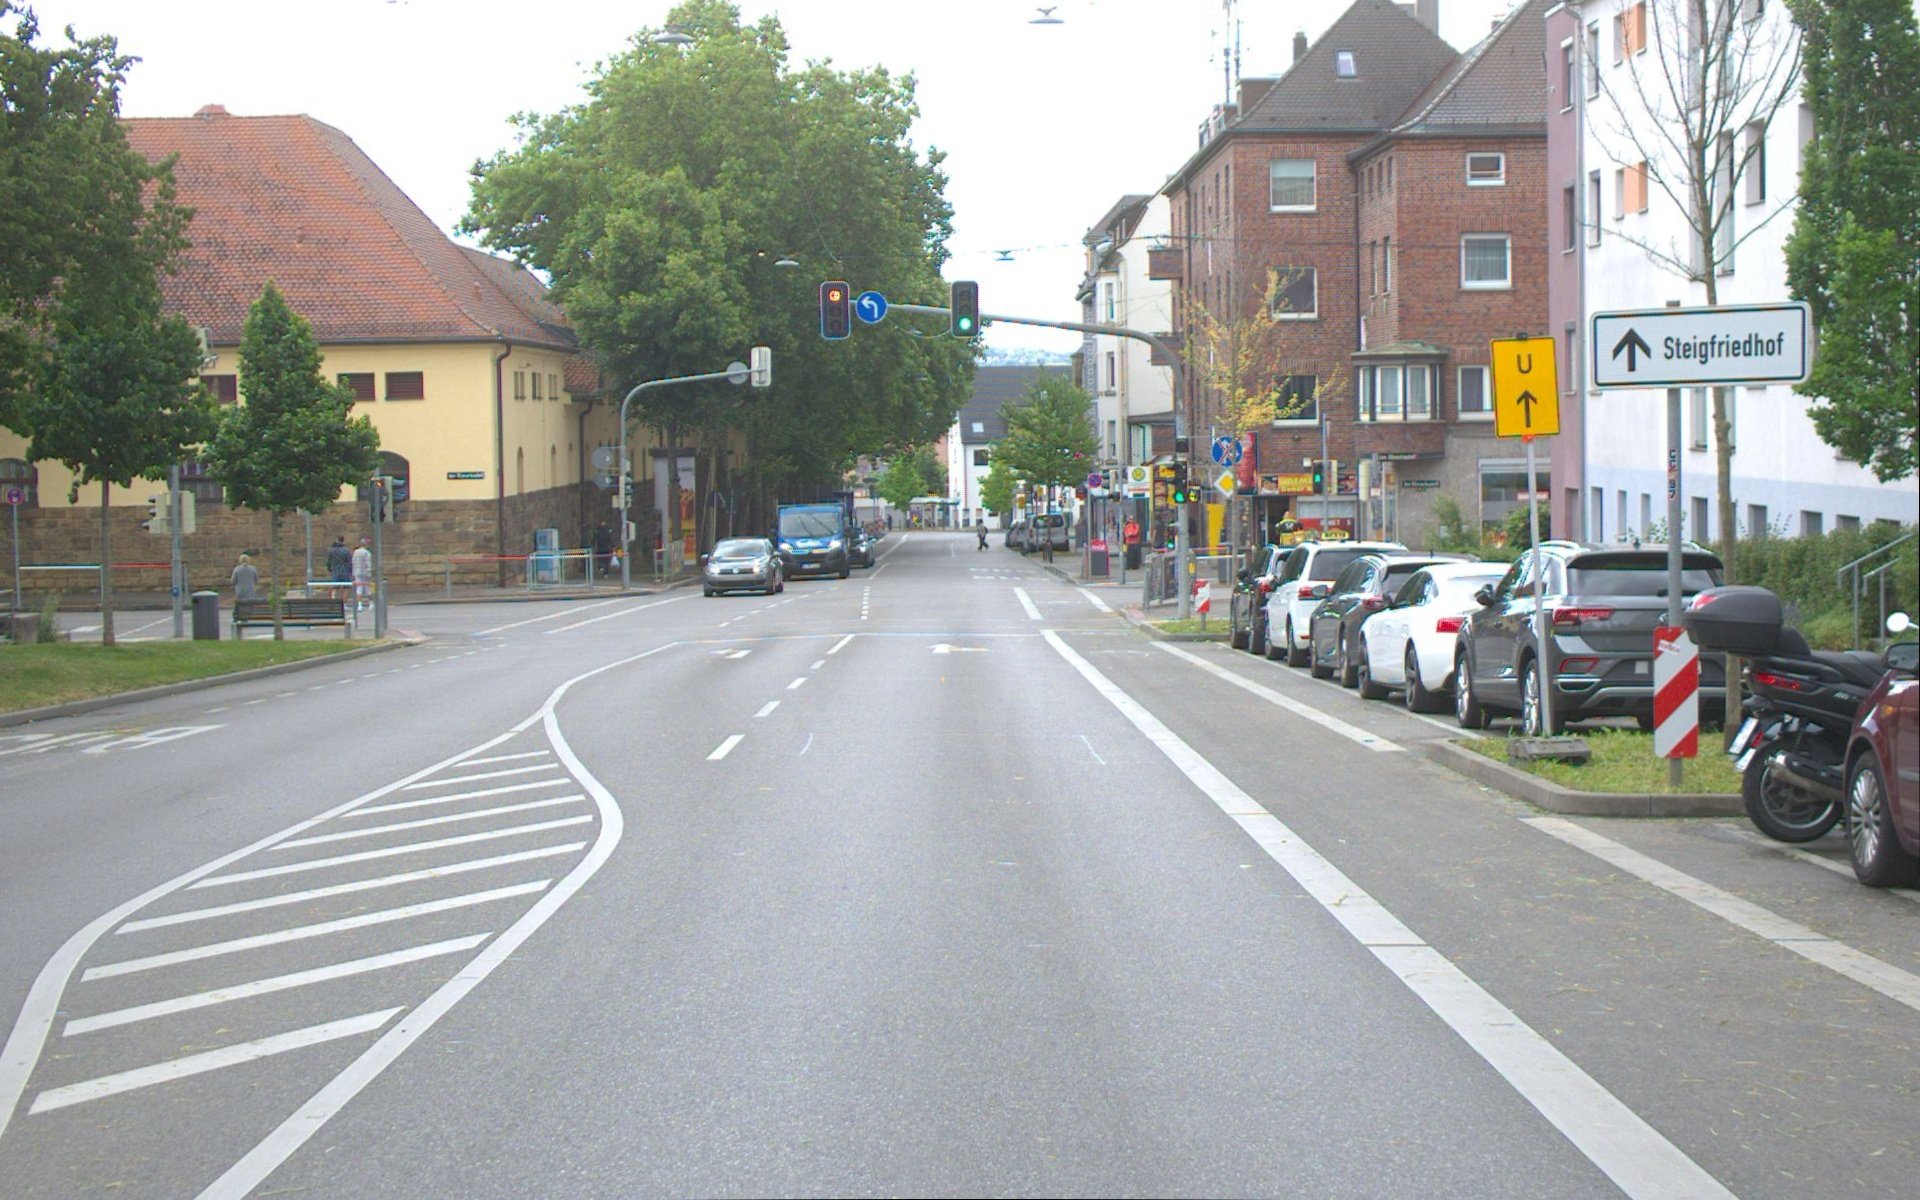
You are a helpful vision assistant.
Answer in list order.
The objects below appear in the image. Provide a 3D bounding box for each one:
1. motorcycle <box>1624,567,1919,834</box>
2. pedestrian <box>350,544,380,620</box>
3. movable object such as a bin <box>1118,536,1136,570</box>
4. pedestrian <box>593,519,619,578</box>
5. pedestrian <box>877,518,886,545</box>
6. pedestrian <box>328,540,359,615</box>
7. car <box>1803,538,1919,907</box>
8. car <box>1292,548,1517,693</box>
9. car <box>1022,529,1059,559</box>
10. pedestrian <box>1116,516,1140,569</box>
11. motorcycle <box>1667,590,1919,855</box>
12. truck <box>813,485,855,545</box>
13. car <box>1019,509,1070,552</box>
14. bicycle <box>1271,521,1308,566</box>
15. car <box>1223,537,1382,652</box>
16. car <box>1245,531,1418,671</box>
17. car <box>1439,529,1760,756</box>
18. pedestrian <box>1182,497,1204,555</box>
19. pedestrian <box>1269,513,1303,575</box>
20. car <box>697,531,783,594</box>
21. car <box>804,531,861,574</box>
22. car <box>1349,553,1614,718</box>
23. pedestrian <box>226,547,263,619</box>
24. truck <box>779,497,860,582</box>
[{"bbox_3d":[4.923,0.519,18.390,2.597,1.376,0.692,0,1,-4],"label":"motorcycle"},{"bbox_3d":[-13.998,-0.431,80.917,0.564,1.771,0.717,0,1,0],"label":"pedestrian"},{"bbox_3d":[5.160,-1.454,106.453,0.453,1.053,0.410,0,1,20],"label":"movable object such as a bin"},{"bbox_3d":[-10.671,-1.546,103.598,0.674,1.759,0.725,0,1,2],"label":"pedestrian"},{"bbox_3d":[-5.931,-5.154,258.654,0.633,2.007,0.784,0,1,2],"label":"pedestrian"},{"bbox_3d":[-14.626,-0.536,81.572,0.564,1.771,0.842,0,1,0],"label":"pedestrian"},{"bbox_3d":[4.881,0.526,14.091,1.680,1.539,4.339,0,1,-1],"label":"car"},{"bbox_3d":[4.939,0.181,38.795,1.745,1.462,4.950,1,1,-2],"label":"car"},{"bbox_3d":[4.281,-3.008,183.120,1.668,1.542,3.757,0,1,-3],"label":"car"},{"bbox_3d":[5.212,-1.773,106.665,0.565,1.631,0.680,0,1,20],"label":"pedestrian"},{"bbox_3d":[4.949,0.596,17.342,2.597,1.274,0.753,0,1,-4],"label":"motorcycle"},{"bbox_3d":[-7.154,-4.814,195.459,2.231,3.335,7.450,0,1,-1],"label":"truck"},{"bbox_3d":[3.890,-3.227,159.216,1.993,1.929,4.920,0,1,-3],"label":"car"},{"bbox_3d":[8.919,-1.531,93.136,0.760,1.189,2.392,0,1,0],"label":"bicycle"},{"bbox_3d":[4.986,-0.101,50.588,1.734,1.583,4.573,1,1,-2],"label":"car"},{"bbox_3d":[4.869,-0.030,45.556,1.658,1.710,4.552,1,1,-2],"label":"car"},{"bbox_3d":[5.044,0.274,27.663,1.631,1.644,4.357,1,1,-2],"label":"car"},{"bbox_3d":[7.038,-2.227,103.861,0.647,1.744,0.778,0,1,5],"label":"pedestrian"},{"bbox_3d":[8.882,-1.535,93.649,0.788,1.650,0.772,-3,1,0],"label":"pedestrian"},{"bbox_3d":[-5.486,-0.950,86.212,1.756,1.467,4.306,-2,1,1],"label":"car"},{"bbox_3d":[-4.463,-1.682,120.661,1.703,1.409,4.192,-2,1,2],"label":"car"},{"bbox_3d":[4.937,0.290,33.098,1.730,1.409,4.500,1,1,-2],"label":"car"},{"bbox_3d":[-15.608,-0.378,75.007,0.564,1.561,0.842,0,1,5],"label":"pedestrian"},{"bbox_3d":[-4.237,-1.839,103.414,2.295,2.419,6.412,-2,1,-3],"label":"truck"}]
